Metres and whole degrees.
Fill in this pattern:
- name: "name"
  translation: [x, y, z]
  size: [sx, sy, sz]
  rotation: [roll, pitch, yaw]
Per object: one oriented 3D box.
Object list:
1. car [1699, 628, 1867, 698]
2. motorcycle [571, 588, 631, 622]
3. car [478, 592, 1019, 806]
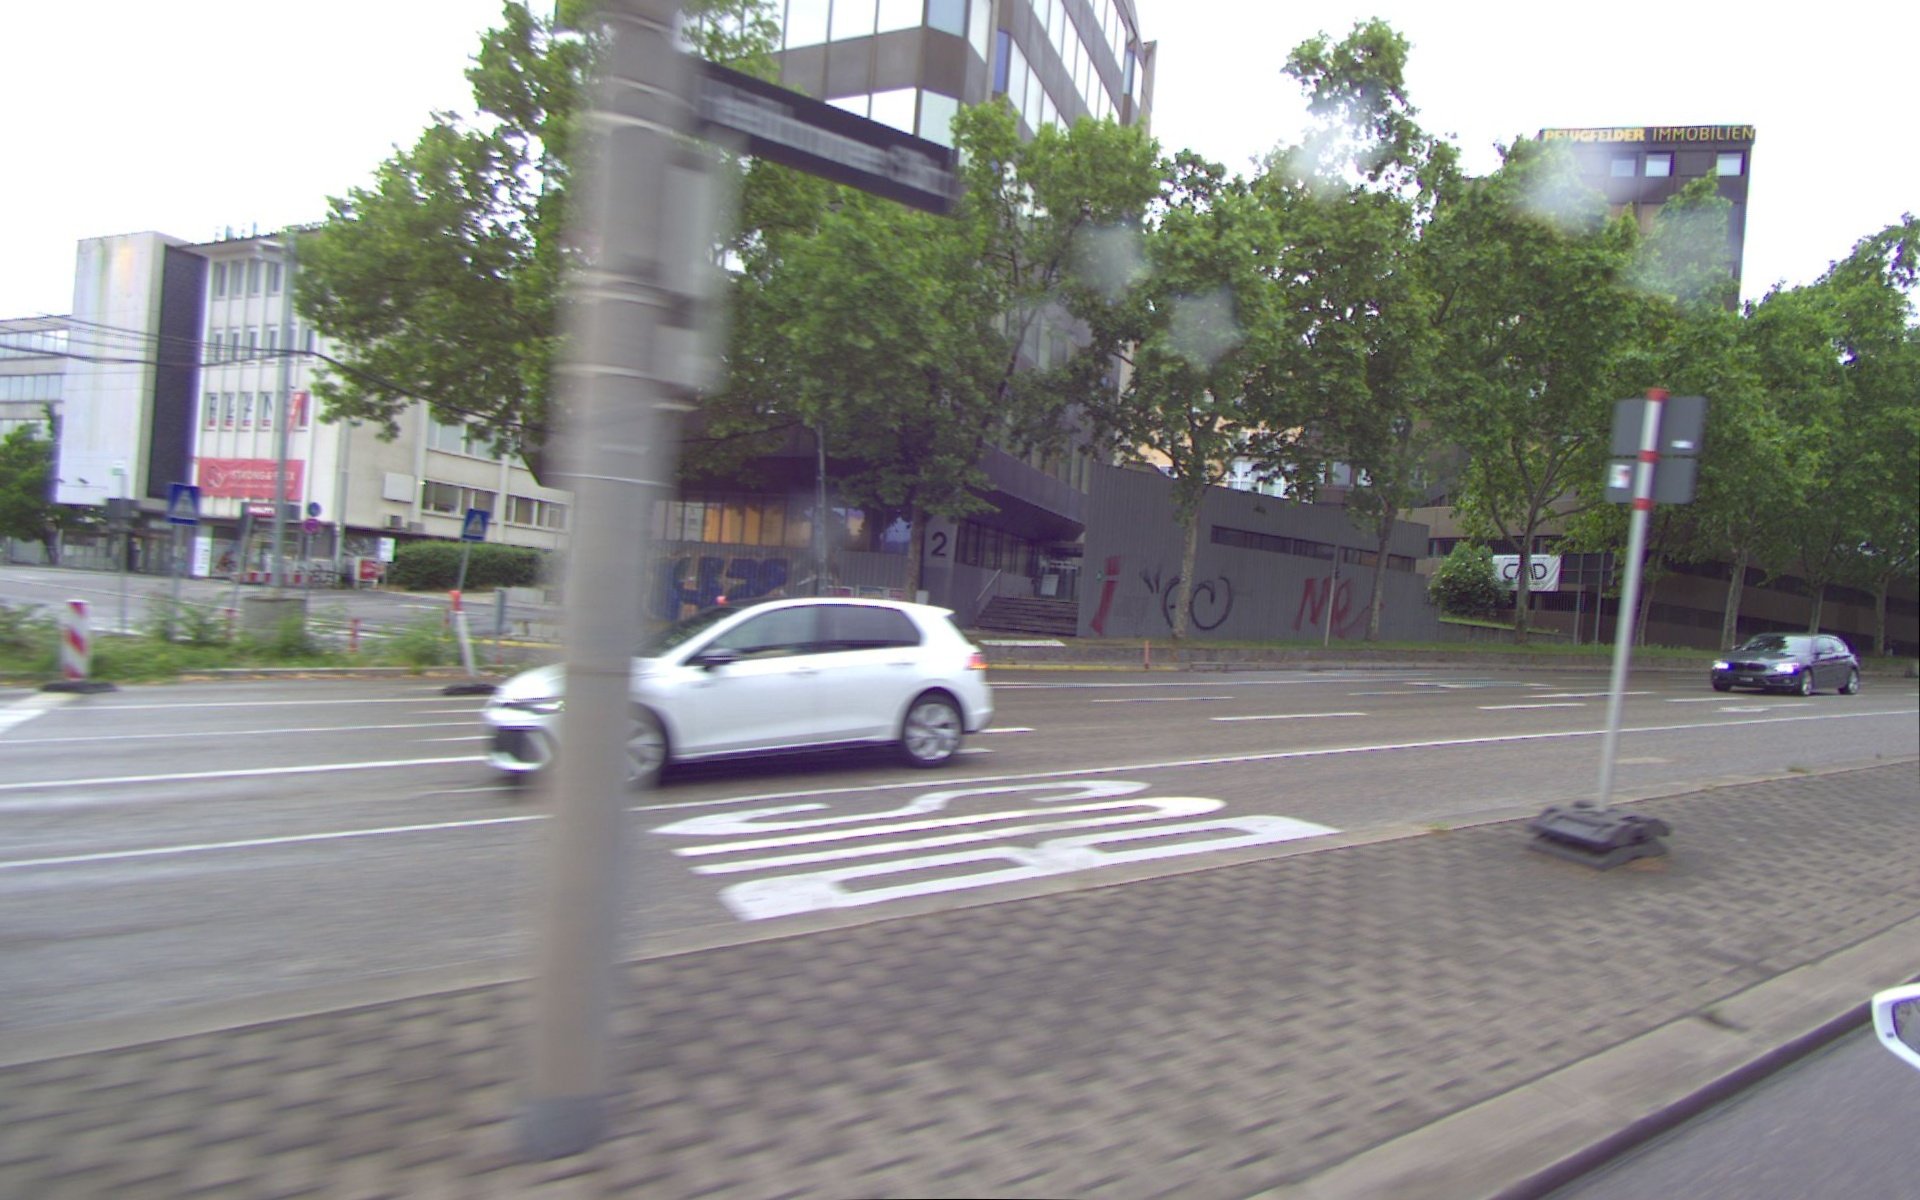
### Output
- name: "car"
  translation: [19.453, 1.427, 23.711]
  size: [4.291, 1.468, 1.797]
  rotation: [1, -1, -32]
- name: "motorcycle"
  translation: [-12.161, 0.160, 33.979]
  size: [2.142, 1.051, 0.565]
  rotation: [2, 1, 26]
- name: "car"
  translation: [-1.756, 0.724, 8.786]
  size: [4.309, 1.480, 1.752]
  rotation: [1, -1, -30]
